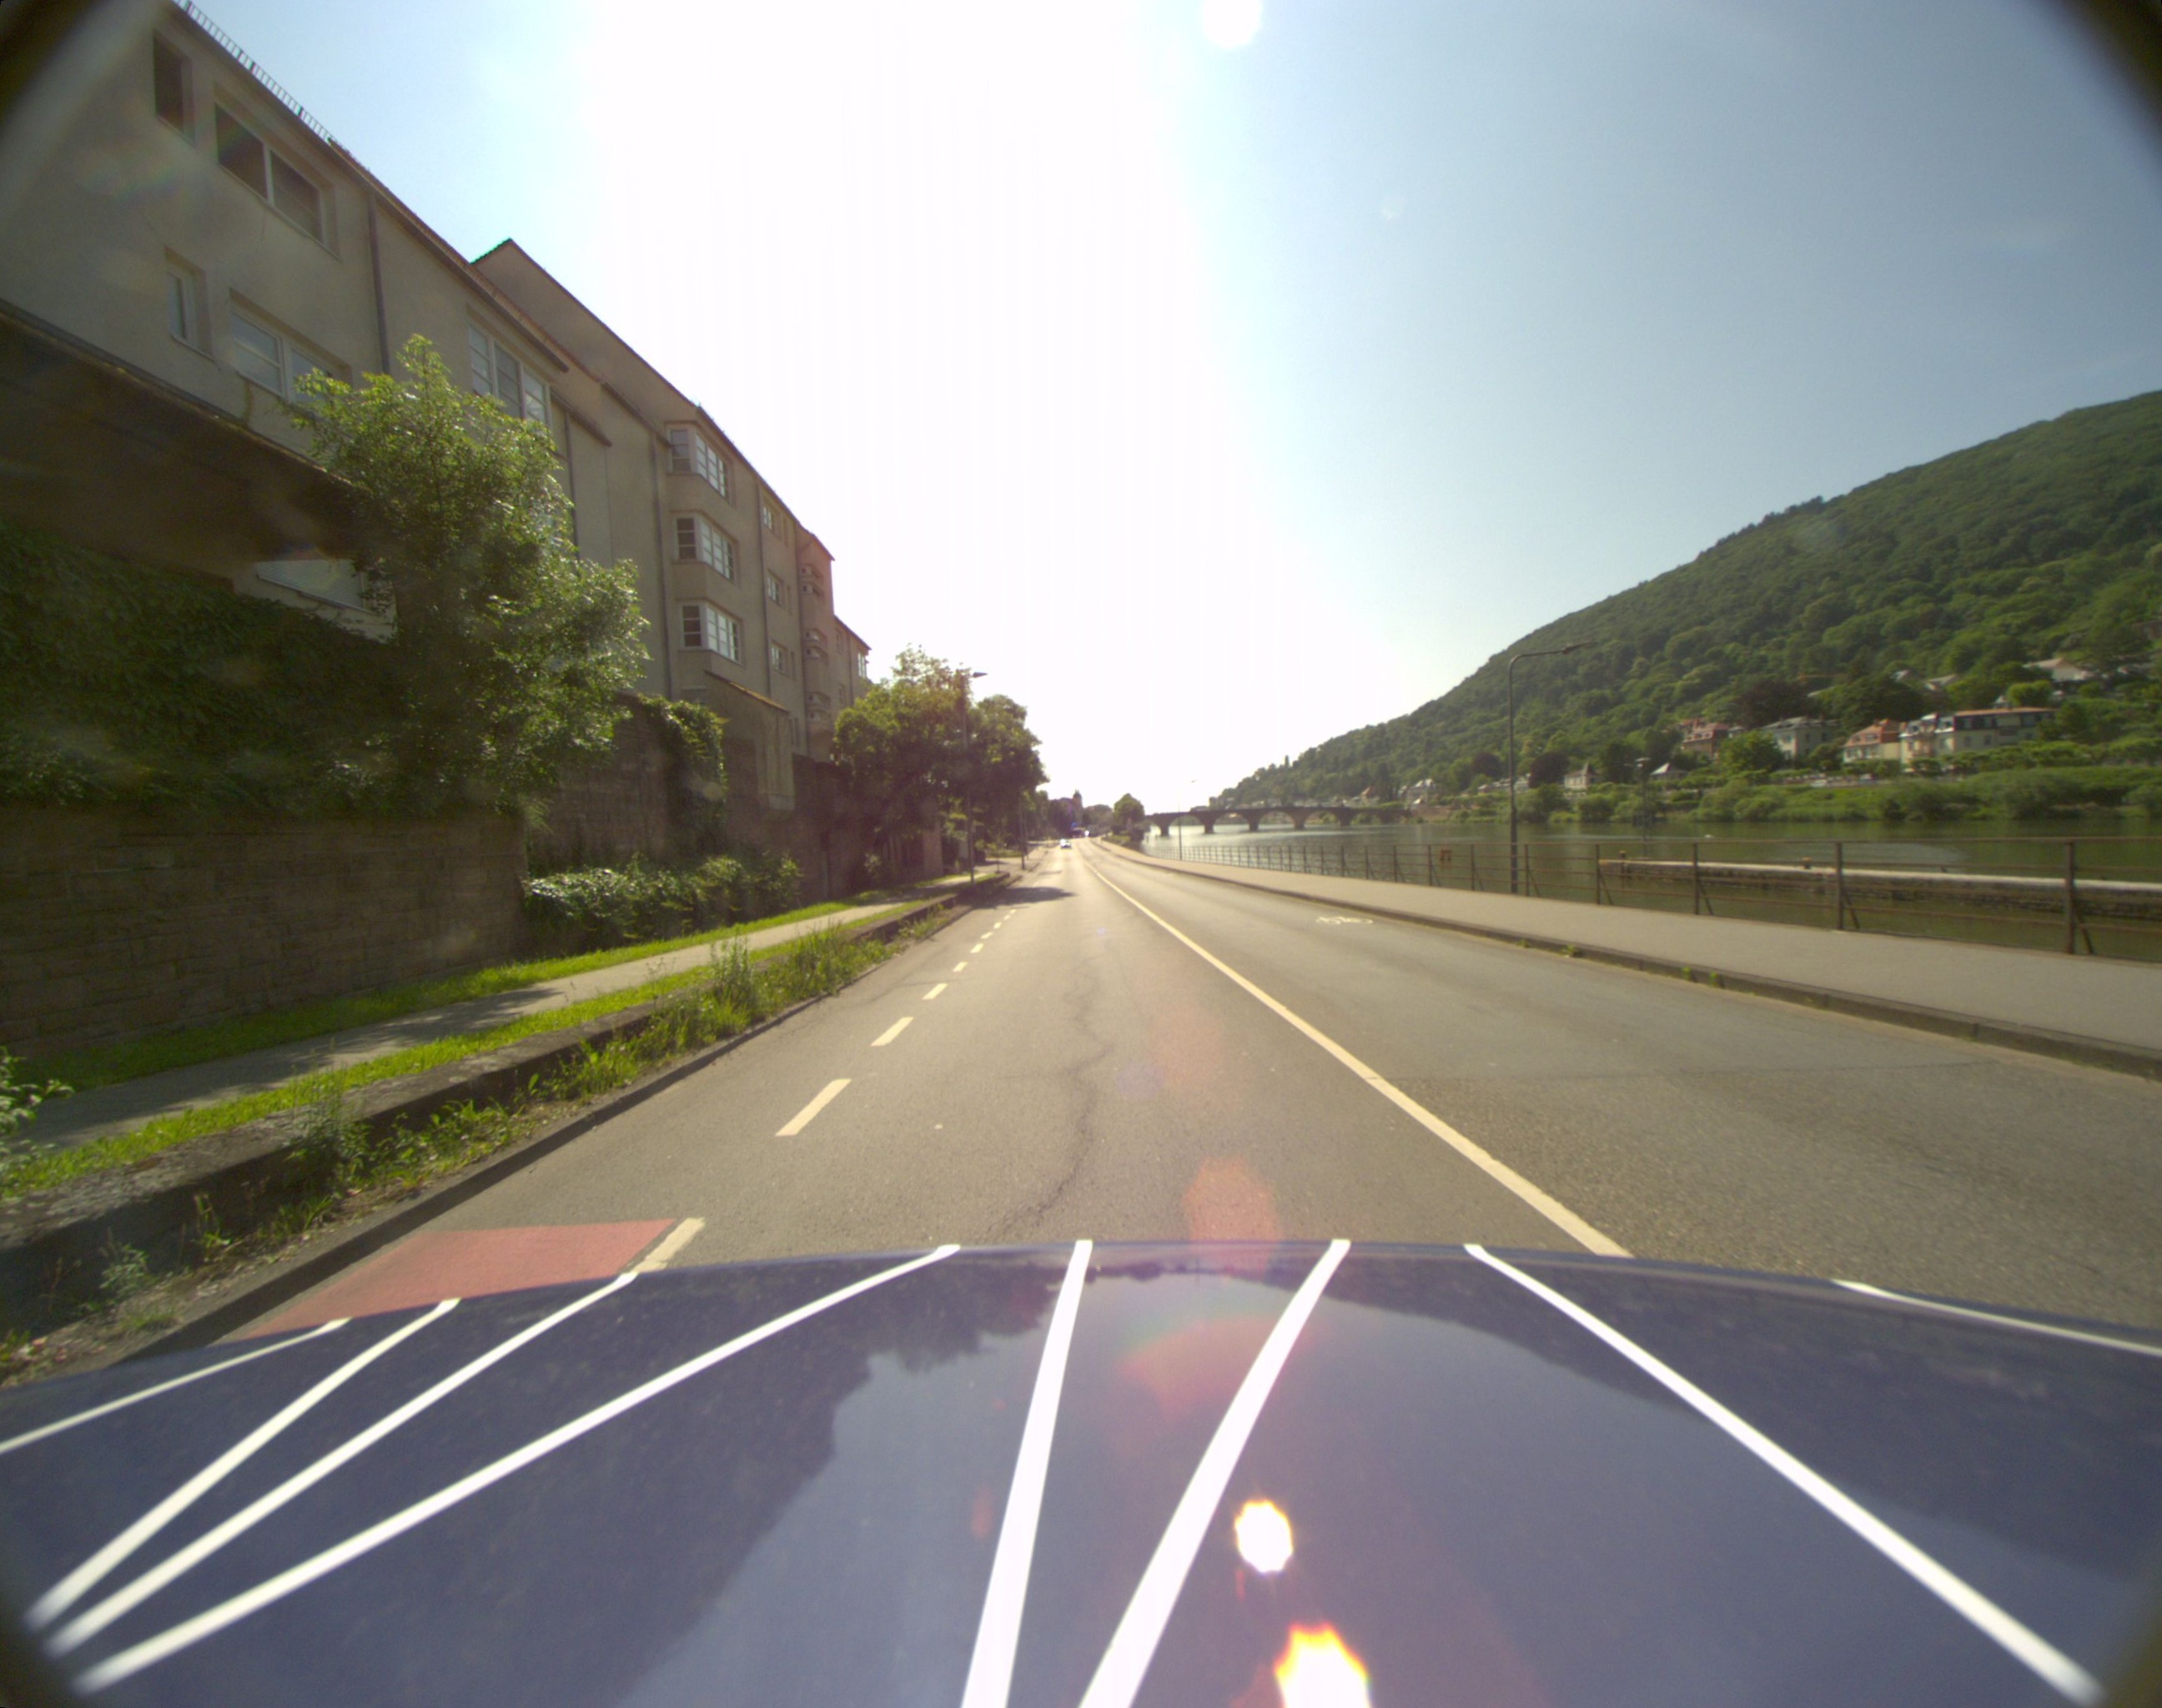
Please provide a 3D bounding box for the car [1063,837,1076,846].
[{"bbox_3d":[-1.891,-2.036,126.879,1.998,1.434,4.000,-2,1,1],"label":"car"}]
